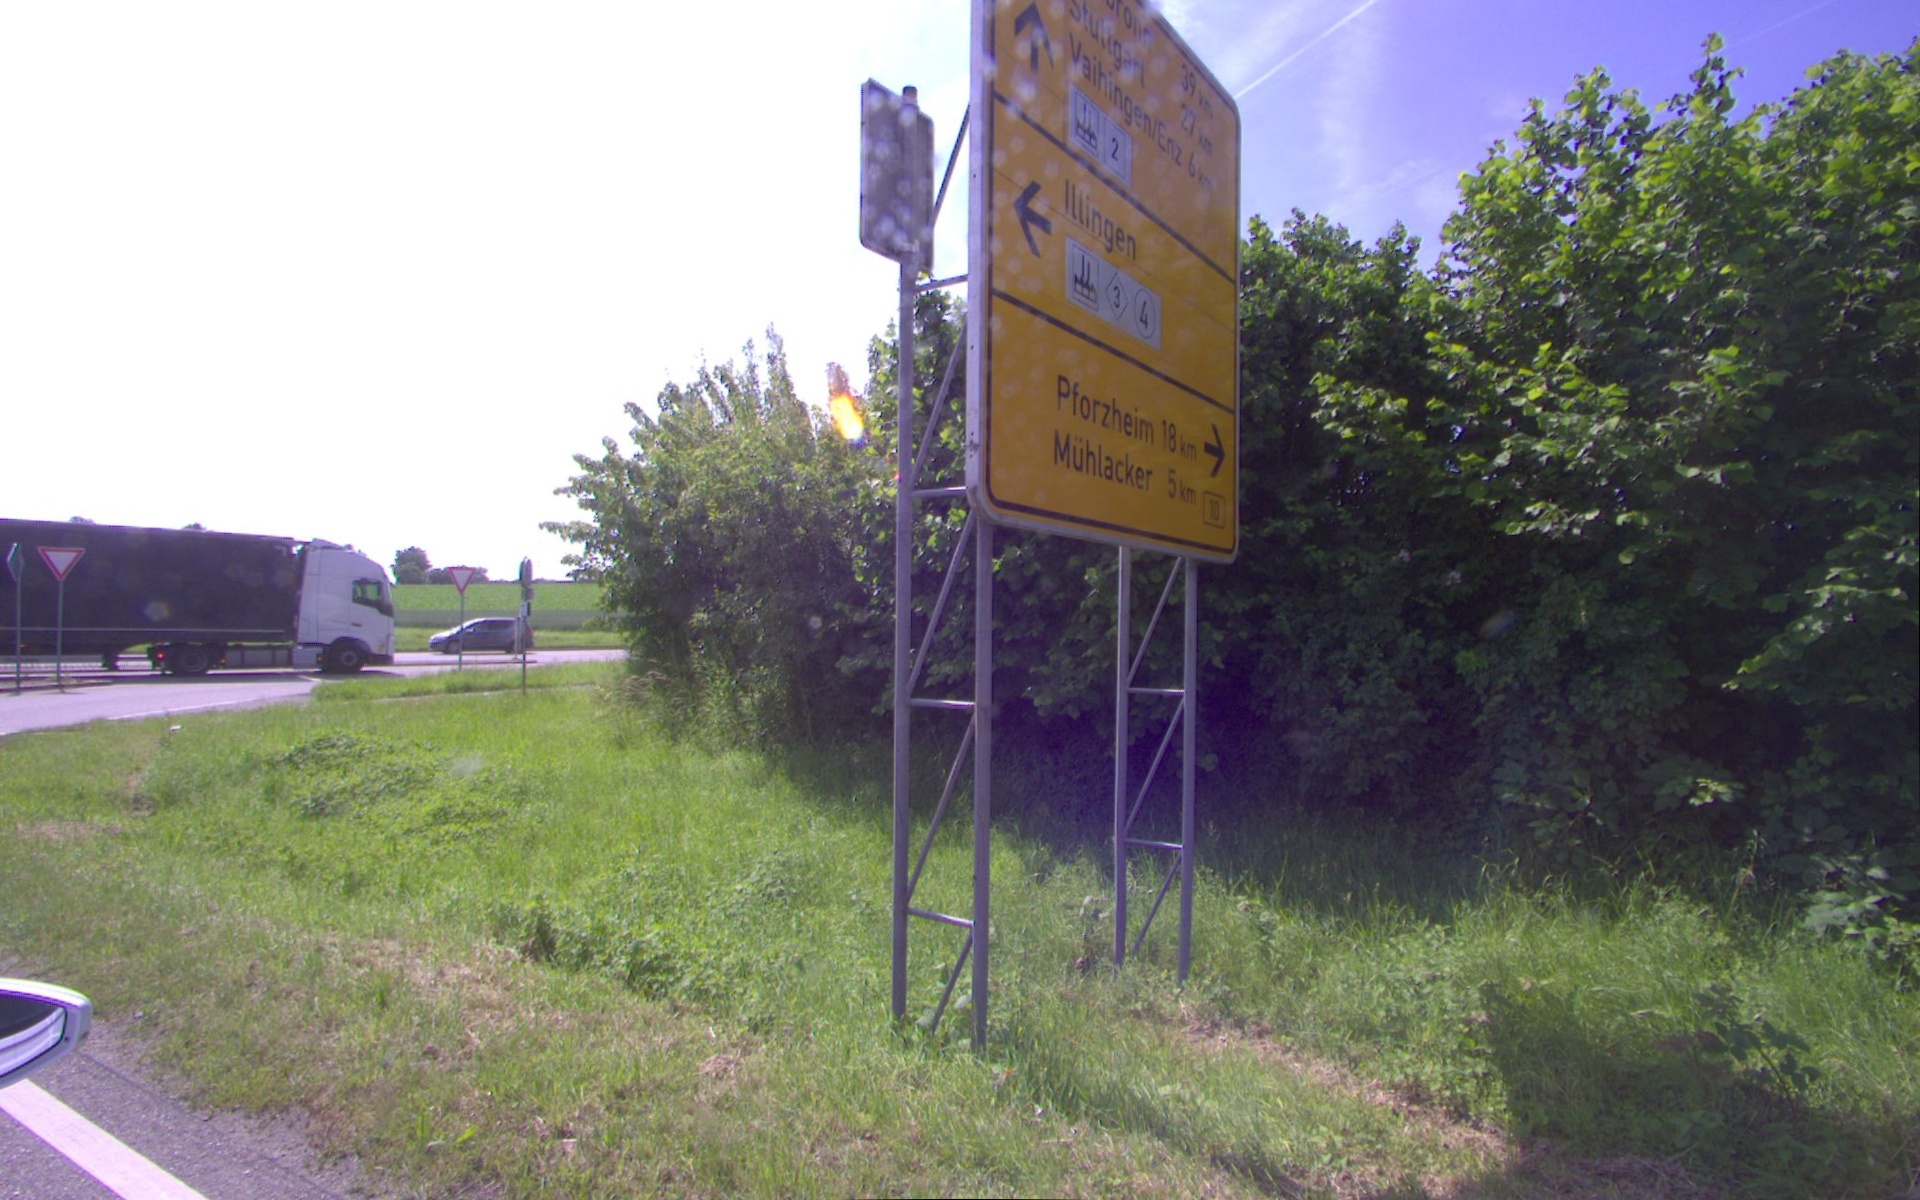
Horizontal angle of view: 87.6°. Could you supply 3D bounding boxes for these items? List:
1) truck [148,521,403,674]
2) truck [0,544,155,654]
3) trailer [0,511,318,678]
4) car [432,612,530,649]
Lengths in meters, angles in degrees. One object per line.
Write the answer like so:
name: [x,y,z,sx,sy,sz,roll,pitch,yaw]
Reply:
truck: [-20.382,0.007,30.060,2.766,4.114,5.799,1,-1,41]
truck: [-38.767,-0.110,36.623,14.123,4.031,3.012,2,-1,-30]
trailer: [-24.639,-0.136,25.579,2.769,4.114,13.603,1,-1,45]
car: [-22.421,1.464,46.922,3.950,1.616,1.654,2,-3,-35]
